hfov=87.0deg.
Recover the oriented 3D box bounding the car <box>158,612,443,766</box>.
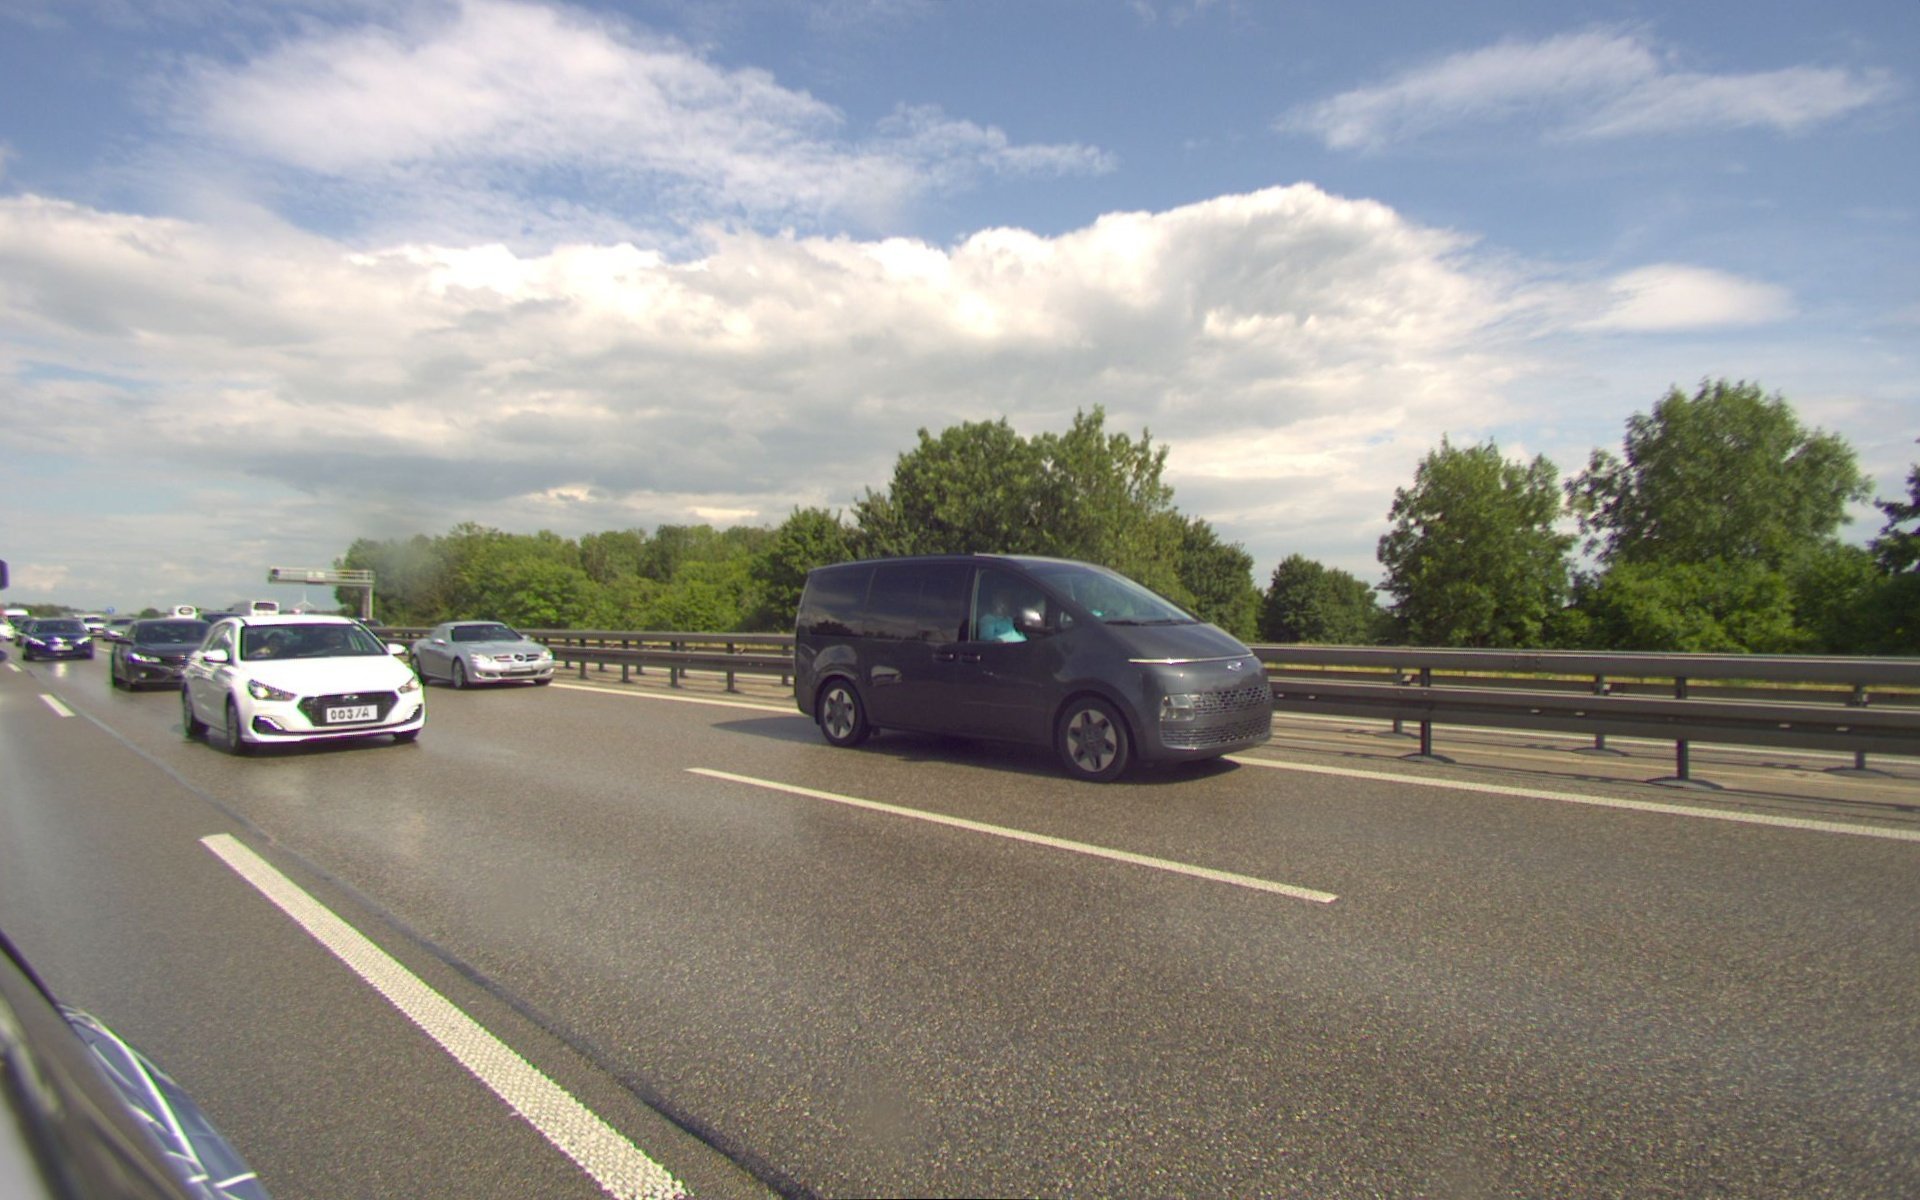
[{"bbox_3d":[-7.907,0.894,11.938,4.549,1.466,1.860,-1,-1,44],"label":"car"}]

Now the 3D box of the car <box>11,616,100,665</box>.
[{"bbox_3d":[-31.345,1.343,35.023,4.001,1.497,1.972,0,1,44],"label":"car"}]

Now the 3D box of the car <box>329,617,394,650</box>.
[{"bbox_3d":[-31.989,1.753,54.093,4.001,1.641,1.971,-1,-1,44],"label":"car"}]

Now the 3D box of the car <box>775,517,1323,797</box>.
[{"bbox_3d":[0.560,0.457,9.882,5.270,2.029,1.971,-1,-1,44],"label":"car"}]

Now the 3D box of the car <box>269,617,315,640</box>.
[{"bbox_3d":[-52.739,2.230,79.867,4.946,1.747,1.971,-1,-1,44],"label":"car"}]

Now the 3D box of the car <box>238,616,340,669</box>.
[{"bbox_3d":[-20.100,1.222,30.255,1.746,1.436,4.141,-1,0,-45],"label":"car"}]

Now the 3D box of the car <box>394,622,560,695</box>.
[{"bbox_3d":[-9.738,1.105,20.267,4.064,1.288,1.705,-1,-1,44],"label":"car"}]

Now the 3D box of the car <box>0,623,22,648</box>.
[{"bbox_3d":[-61.975,2.279,65.219,4.001,1.490,1.972,0,1,44],"label":"car"}]

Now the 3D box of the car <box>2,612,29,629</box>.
[{"bbox_3d":[-107.031,2.317,114.649,4.001,1.710,1.972,0,1,44],"label":"car"}]

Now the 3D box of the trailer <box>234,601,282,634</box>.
[{"bbox_3d":[-76.055,1.923,109.495,2.698,3.407,9.567,0,-1,-45],"label":"trailer"}]

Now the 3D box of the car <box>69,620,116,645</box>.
[{"bbox_3d":[-58.401,2.166,68.126,4.001,1.490,1.972,0,1,44],"label":"car"}]

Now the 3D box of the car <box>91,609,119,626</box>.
[{"bbox_3d":[-97.955,2.014,115.928,4.462,1.792,1.971,-1,-1,44],"label":"car"}]

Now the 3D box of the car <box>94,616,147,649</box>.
[{"bbox_3d":[-49.941,1.893,60.171,4.001,1.761,1.972,0,1,44],"label":"car"}]

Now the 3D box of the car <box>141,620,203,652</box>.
[{"bbox_3d":[-37.628,1.679,48.289,4.001,1.389,1.747,0,0,44],"label":"car"}]

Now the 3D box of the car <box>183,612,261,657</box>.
[{"bbox_3d":[-28.896,1.305,39.590,1.849,1.618,4.231,0,-1,-45],"label":"car"}]

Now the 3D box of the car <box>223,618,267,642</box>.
[{"bbox_3d":[-50.940,2.088,72.084,3.831,1.641,1.860,-1,-1,44],"label":"car"}]

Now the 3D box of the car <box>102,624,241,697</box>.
[{"bbox_3d":[-16.473,1.180,21.061,4.288,1.348,1.705,-1,-1,44],"label":"car"}]
